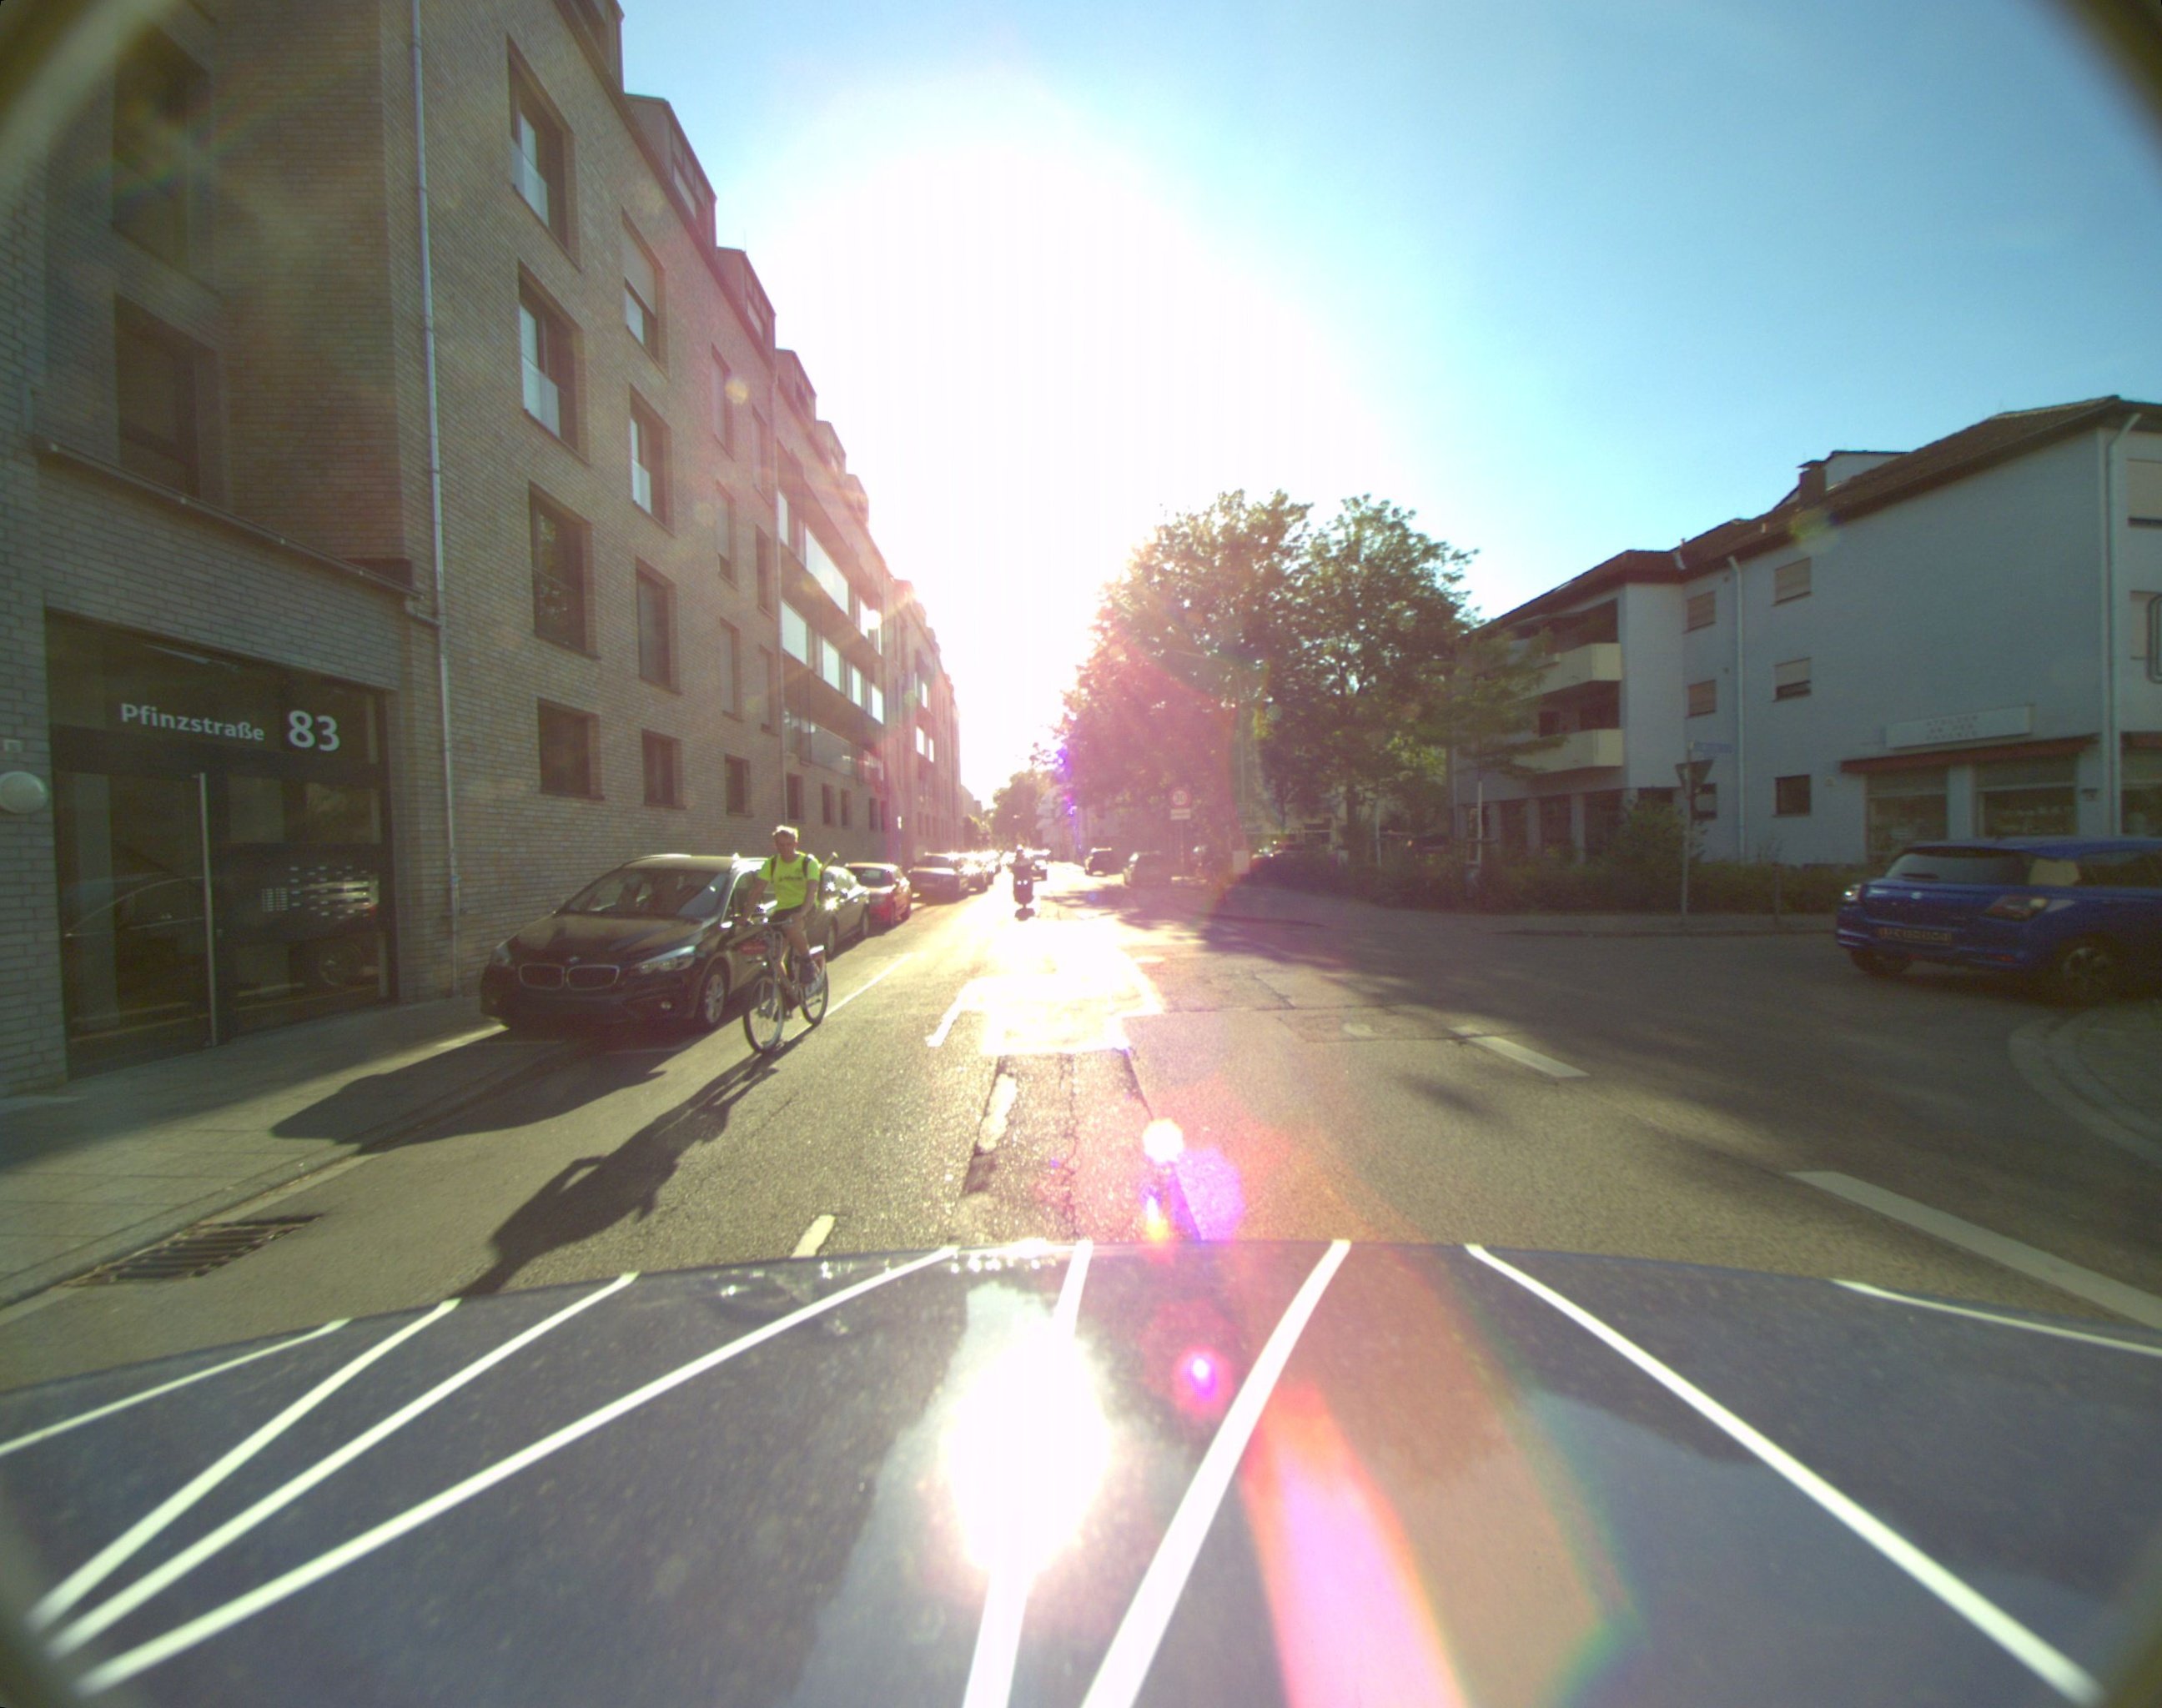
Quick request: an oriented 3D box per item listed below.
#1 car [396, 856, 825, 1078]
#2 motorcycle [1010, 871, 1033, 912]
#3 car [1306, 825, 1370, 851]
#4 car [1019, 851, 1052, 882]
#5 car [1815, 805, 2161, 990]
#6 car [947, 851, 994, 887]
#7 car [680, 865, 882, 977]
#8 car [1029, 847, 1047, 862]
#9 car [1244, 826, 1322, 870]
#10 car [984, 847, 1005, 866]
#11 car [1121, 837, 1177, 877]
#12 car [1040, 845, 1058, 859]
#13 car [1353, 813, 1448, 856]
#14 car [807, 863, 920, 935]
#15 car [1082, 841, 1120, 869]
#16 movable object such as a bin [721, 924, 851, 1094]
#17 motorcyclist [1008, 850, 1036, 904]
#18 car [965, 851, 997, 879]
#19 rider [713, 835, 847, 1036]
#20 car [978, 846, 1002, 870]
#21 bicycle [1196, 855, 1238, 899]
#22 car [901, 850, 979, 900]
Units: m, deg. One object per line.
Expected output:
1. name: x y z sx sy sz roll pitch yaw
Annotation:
1. car: -4.452 0.879 8.318 1.999 1.643 4.760 -2 0 -5
2. motorcycle: -1.648 1.008 21.122 0.599 1.004 1.820 -2 1 -4
3. car: 16.527 -1.007 49.151 2.000 1.467 4.828 -4 1 -7
4. car: -2.607 0.657 43.348 1.709 1.570 3.913 -3 1 -4
5. car: 9.931 0.335 7.352 3.778 1.521 2.000 -1 0 -2
6. car: -5.023 0.654 34.995 1.822 1.458 4.267 -2 1 -4
7. car: -4.989 1.016 13.408 1.999 1.497 4.365 -2 0 -3
8. car: -5.017 0.010 87.824 1.944 1.567 4.316 -2 1 -5
9. car: 9.503 -0.266 36.125 1.849 1.884 4.903 -2 0 -7
10. car: -7.359 0.174 64.314 1.655 1.583 4.339 0 0 -7
11. car: 2.947 0.079 33.666 1.701 1.483 3.997 -5 2 -4
12. car: -4.540 -0.249 107.046 1.999 1.619 3.997 -9 2 -6
13. car: 15.425 -0.905 36.944 2.025 1.937 4.318 -2 1 -15
14. car: -5.099 0.996 18.329 1.717 1.396 4.071 2 1 -3
15. car: 1.327 0.007 52.695 1.937 1.695 5.097 -4 1 -5
16. movable object such as a bin: -2.512 1.262 6.682 0.456 1.027 1.839 -5 2 -4
17. motorcyclist: -1.625 0.628 20.924 0.718 1.425 0.746 -2 1 -4
18. car: -5.667 0.576 43.337 1.702 1.459 4.716 0 1 -7
19. rider: -2.564 0.642 6.606 0.655 1.553 1.082 -5 3 -4
20. car: -7.037 0.250 59.077 1.672 1.724 4.836 -2 1 -6
21. bicycle: 3.492 0.567 19.624 0.705 0.997 1.941 -3 1 1
22. car: -5.262 0.727 28.989 1.894 1.702 4.774 -2 0 1
